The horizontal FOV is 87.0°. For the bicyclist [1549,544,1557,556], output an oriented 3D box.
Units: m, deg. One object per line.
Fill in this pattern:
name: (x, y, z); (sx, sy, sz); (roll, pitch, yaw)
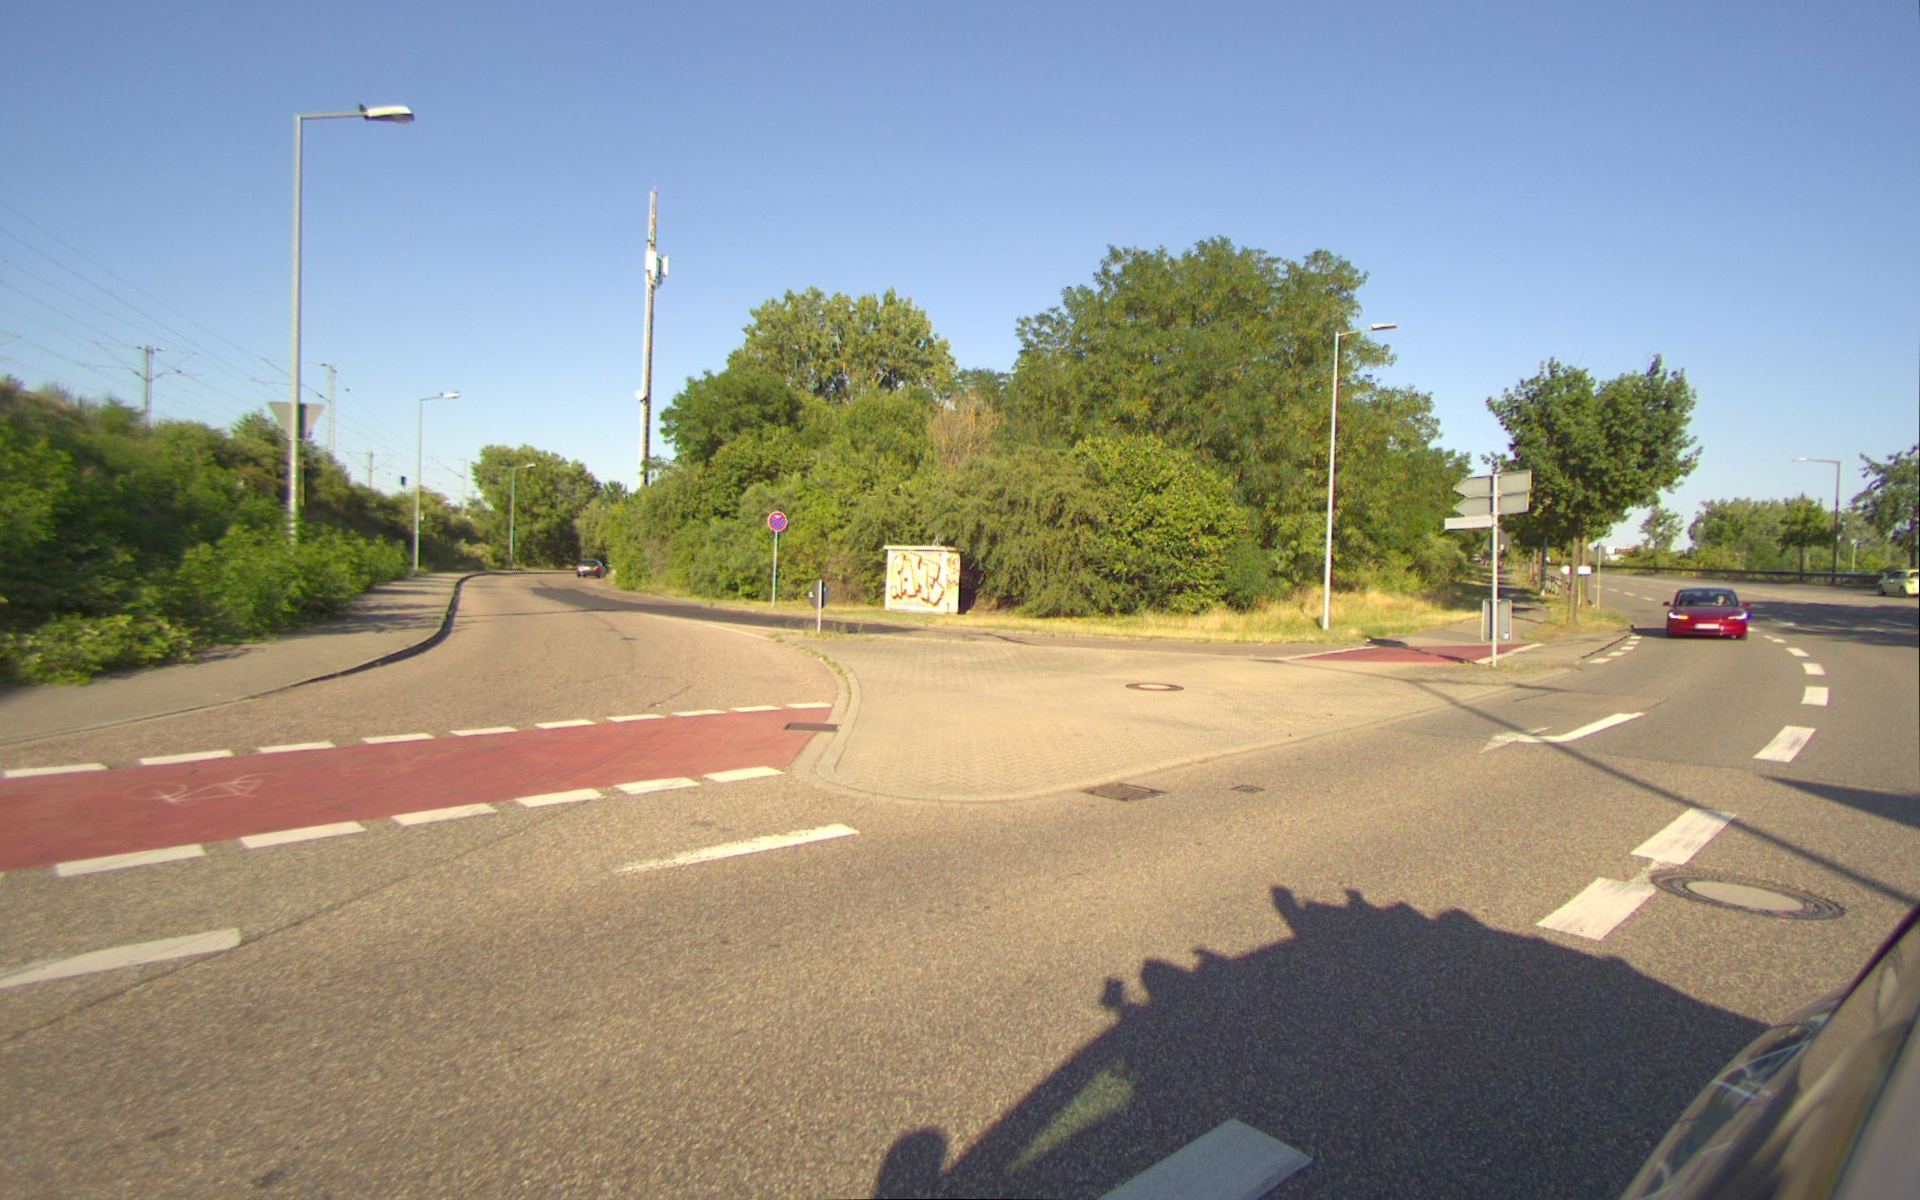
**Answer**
bicyclist: (78.558, -6.641, 133.983); (0.593, 1.476, 0.825); (3, 4, 15)

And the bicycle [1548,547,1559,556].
bicycle: (78.501, -6.403, 133.820); (0.576, 1.089, 2.303); (3, 5, 15)

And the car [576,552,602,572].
car: (-29.104, -2.972, 79.456); (1.618, 1.465, 3.648); (0, 2, -15)

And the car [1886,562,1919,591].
car: (50.451, -1.263, 52.829); (1.724, 1.481, 3.743); (0, 2, 19)

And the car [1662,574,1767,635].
car: (21.790, 0.088, 29.387); (1.766, 1.459, 4.319); (-2, 2, 28)
